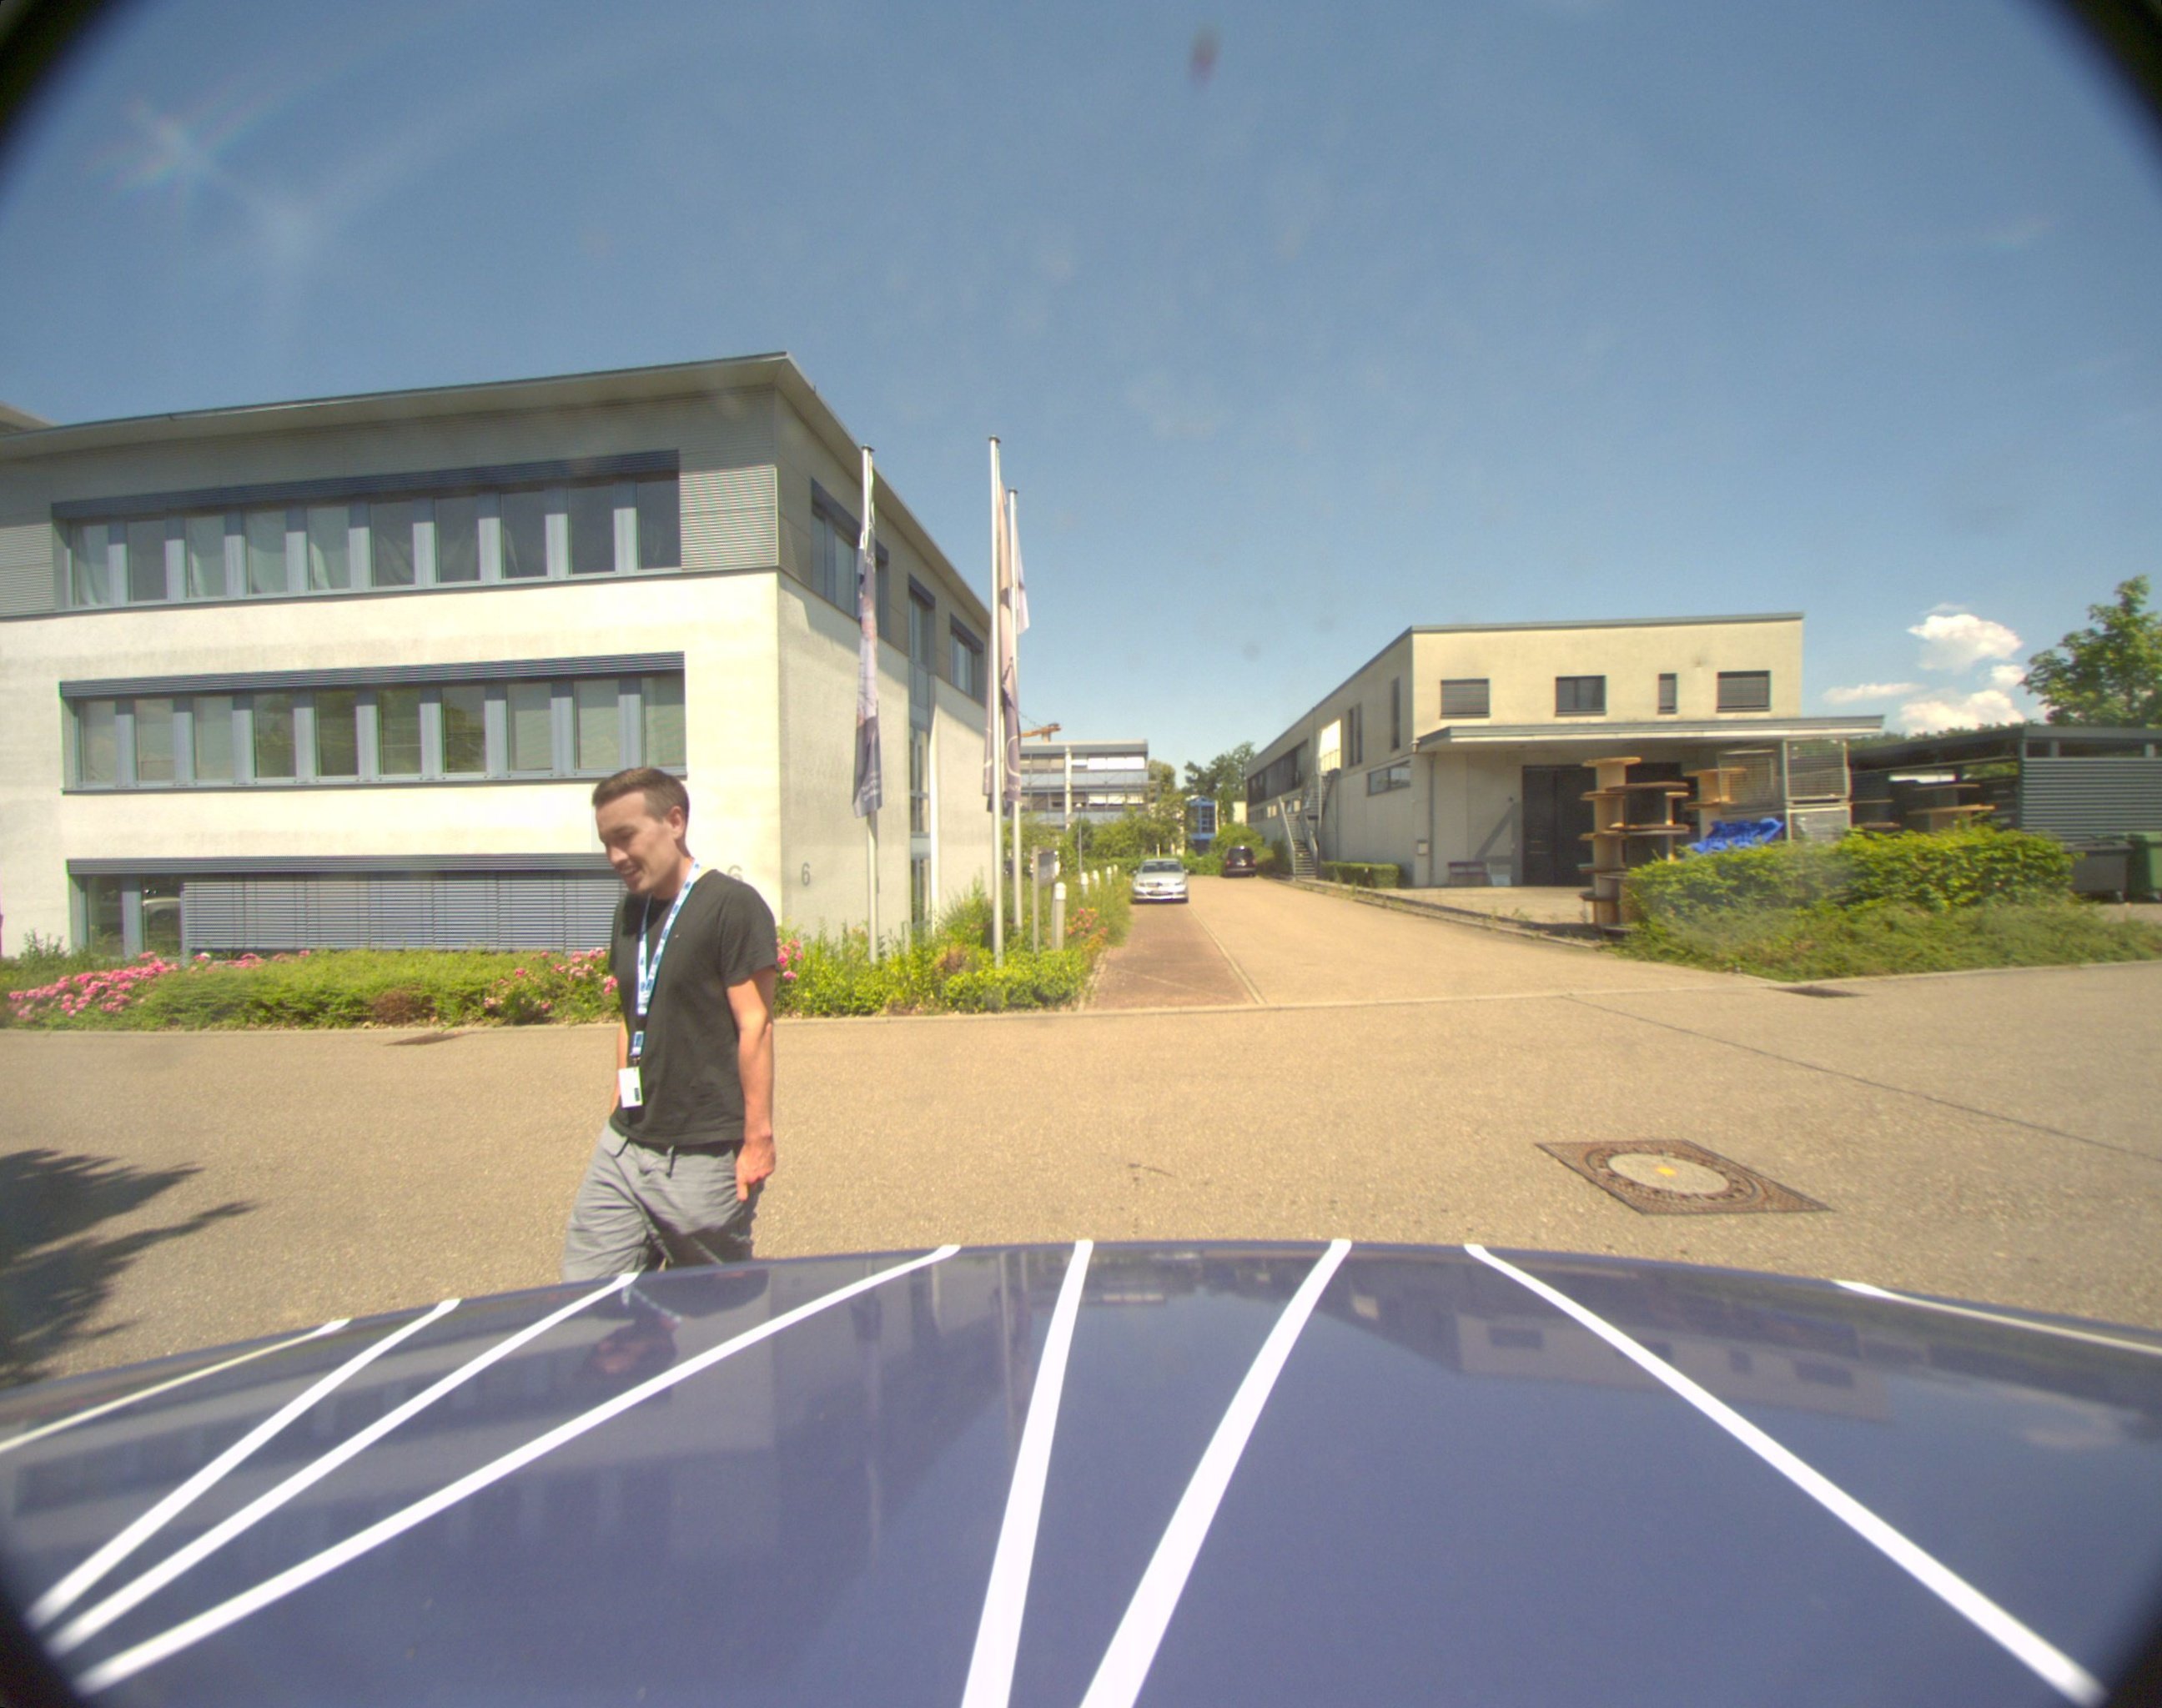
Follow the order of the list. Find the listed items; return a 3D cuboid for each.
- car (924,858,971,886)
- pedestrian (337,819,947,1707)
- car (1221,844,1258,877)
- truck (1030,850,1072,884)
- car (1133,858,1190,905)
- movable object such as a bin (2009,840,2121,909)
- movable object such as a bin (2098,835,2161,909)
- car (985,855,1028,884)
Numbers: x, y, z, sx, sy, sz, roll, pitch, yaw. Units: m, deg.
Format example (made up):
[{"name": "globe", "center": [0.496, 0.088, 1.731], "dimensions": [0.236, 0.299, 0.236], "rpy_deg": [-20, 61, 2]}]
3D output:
[{"name": "car", "center": [-8.160, 1.059, 46.833], "dimensions": [1.787, 1.537, 4.001], "rpy_deg": [-2, 1, 5]}, {"name": "pedestrian", "center": [-0.988, 0.852, 1.829], "dimensions": [0.858, 1.809, 0.906], "rpy_deg": [-2, 1, 32]}, {"name": "car", "center": [9.439, 0.367, 45.439], "dimensions": [1.786, 1.793, 4.001], "rpy_deg": [-2, 1, 7]}, {"name": "truck", "center": [-1.743, 0.713, 45.411], "dimensions": [1.998, 1.882, 4.001], "rpy_deg": [-2, 0, 4]}, {"name": "car", "center": [2.770, 0.874, 25.407], "dimensions": [1.710, 1.383, 3.813], "rpy_deg": [-1, 1, 9]}, {"name": "movable object such as a bin", "center": [18.844, 0.387, 14.570], "dimensions": [1.071, 1.264, 0.760], "rpy_deg": [-2, 1, 10]}, {"name": "movable object such as a bin", "center": [20.151, 0.328, 14.240], "dimensions": [1.071, 1.329, 0.760], "rpy_deg": [-2, 1, 10]}, {"name": "car", "center": [-4.500, 0.926, 46.453], "dimensions": [1.787, 1.537, 4.001], "rpy_deg": [-2, 1, 5]}]
